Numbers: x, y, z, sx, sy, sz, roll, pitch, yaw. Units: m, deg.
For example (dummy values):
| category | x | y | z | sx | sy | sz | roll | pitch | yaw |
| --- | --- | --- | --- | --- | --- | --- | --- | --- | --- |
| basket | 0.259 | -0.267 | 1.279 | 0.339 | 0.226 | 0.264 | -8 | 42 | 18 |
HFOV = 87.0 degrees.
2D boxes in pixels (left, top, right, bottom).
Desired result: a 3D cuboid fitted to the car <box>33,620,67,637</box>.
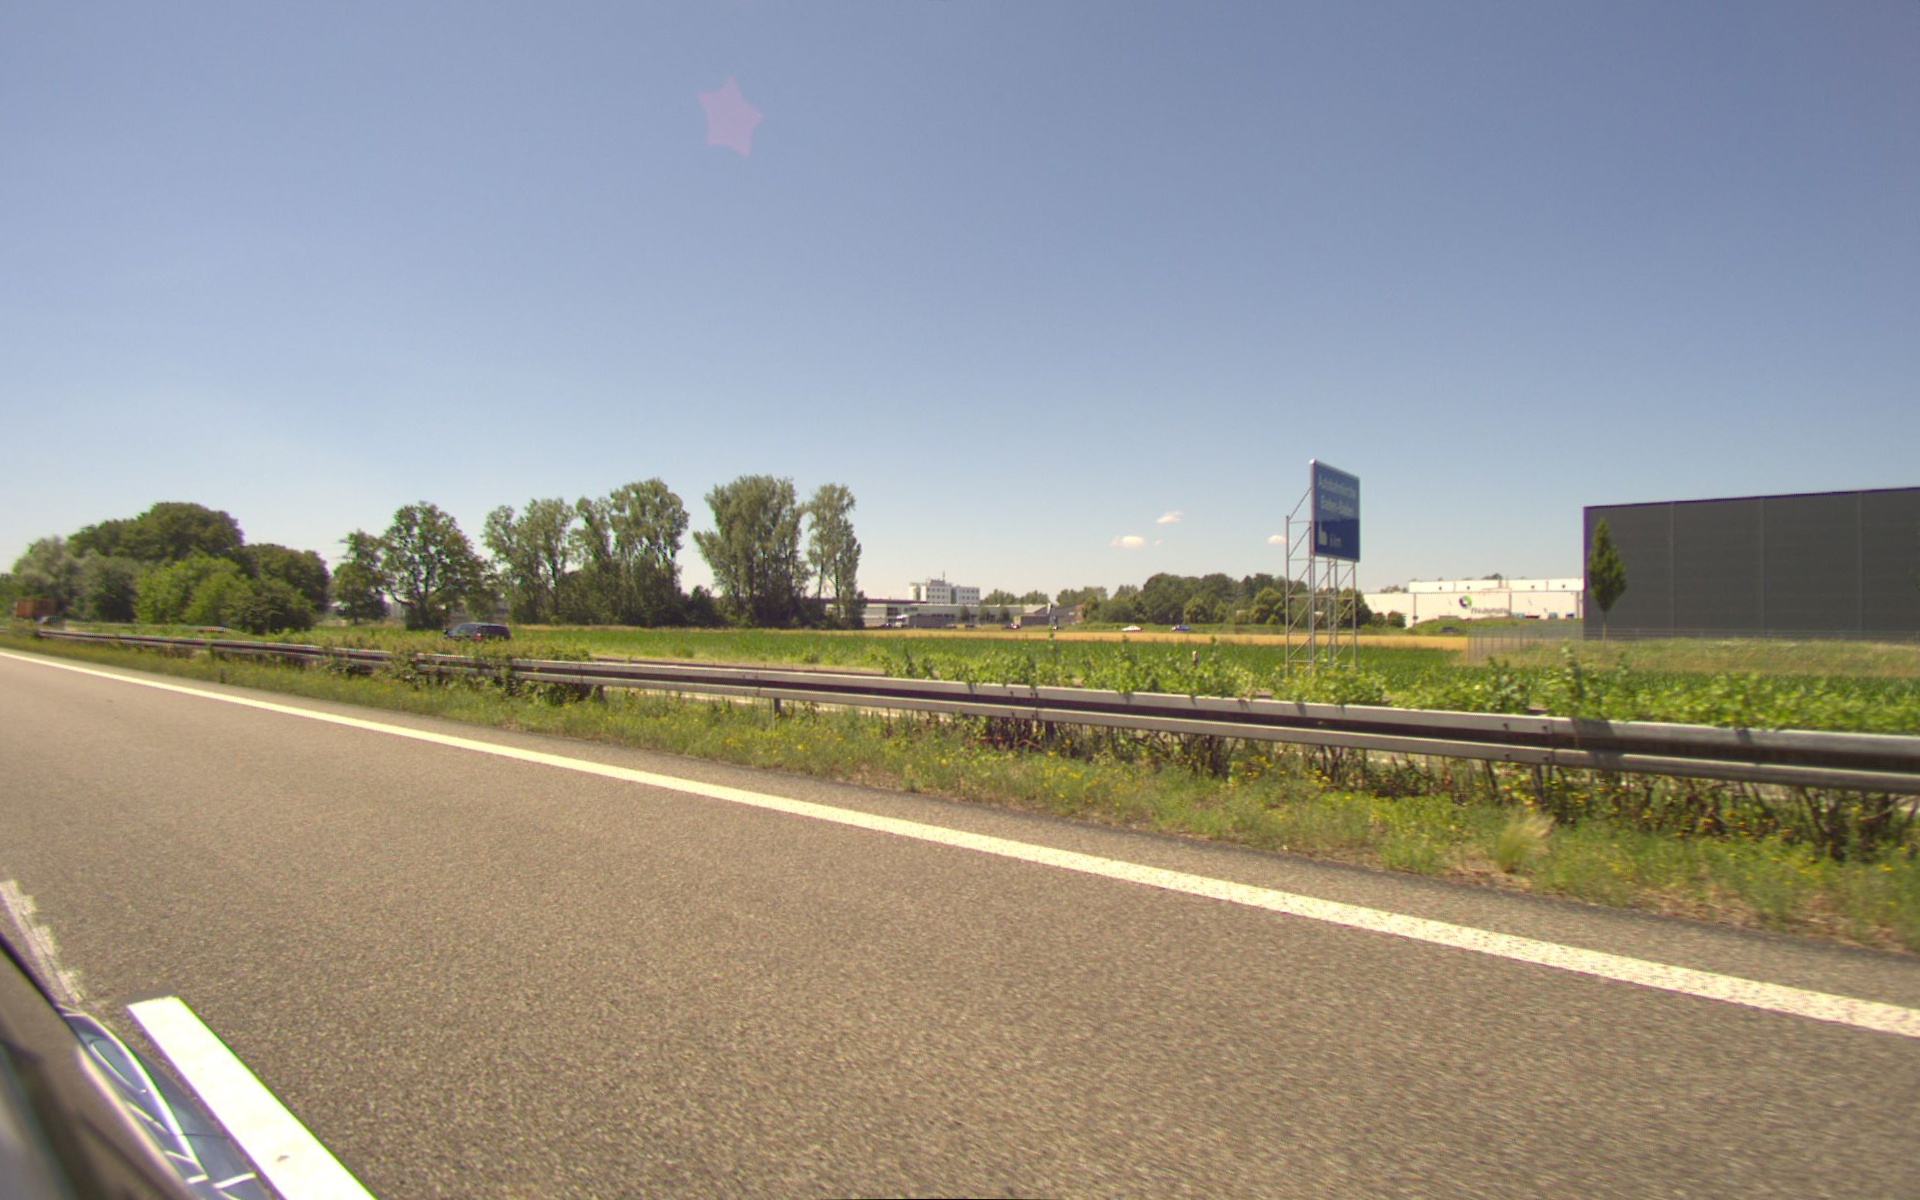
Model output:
| category | x | y | z | sx | sy | sz | roll | pitch | yaw |
| --- | --- | --- | --- | --- | --- | --- | --- | --- | --- |
| car | -92.770 | 2.875 | 103.131 | 5.550 | 1.693 | 1.972 | -1 | -2 | 41 |

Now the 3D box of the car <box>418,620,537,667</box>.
| category | x | y | z | sx | sy | sz | roll | pitch | yaw |
| --- | --- | --- | --- | --- | --- | --- | --- | --- | --- |
| car | -18.283 | 1.597 | 38.193 | 5.660 | 1.652 | 1.973 | -1 | -2 | 41 |

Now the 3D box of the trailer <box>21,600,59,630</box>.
| category | x | y | z | sx | sy | sz | roll | pitch | yaw |
| --- | --- | --- | --- | --- | --- | --- | --- | --- | --- |
| trailer | -123.848 | 2.047 | 136.170 | 8.656 | 3.950 | 2.631 | -1 | -4 | 41 |

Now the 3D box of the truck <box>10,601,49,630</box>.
| category | x | y | z | sx | sy | sz | roll | pitch | yaw |
| --- | --- | --- | --- | --- | --- | --- | --- | --- | --- |
| truck | -131.202 | 2.187 | 142.576 | 10.821 | 3.914 | 2.621 | -1 | -4 | 41 |
